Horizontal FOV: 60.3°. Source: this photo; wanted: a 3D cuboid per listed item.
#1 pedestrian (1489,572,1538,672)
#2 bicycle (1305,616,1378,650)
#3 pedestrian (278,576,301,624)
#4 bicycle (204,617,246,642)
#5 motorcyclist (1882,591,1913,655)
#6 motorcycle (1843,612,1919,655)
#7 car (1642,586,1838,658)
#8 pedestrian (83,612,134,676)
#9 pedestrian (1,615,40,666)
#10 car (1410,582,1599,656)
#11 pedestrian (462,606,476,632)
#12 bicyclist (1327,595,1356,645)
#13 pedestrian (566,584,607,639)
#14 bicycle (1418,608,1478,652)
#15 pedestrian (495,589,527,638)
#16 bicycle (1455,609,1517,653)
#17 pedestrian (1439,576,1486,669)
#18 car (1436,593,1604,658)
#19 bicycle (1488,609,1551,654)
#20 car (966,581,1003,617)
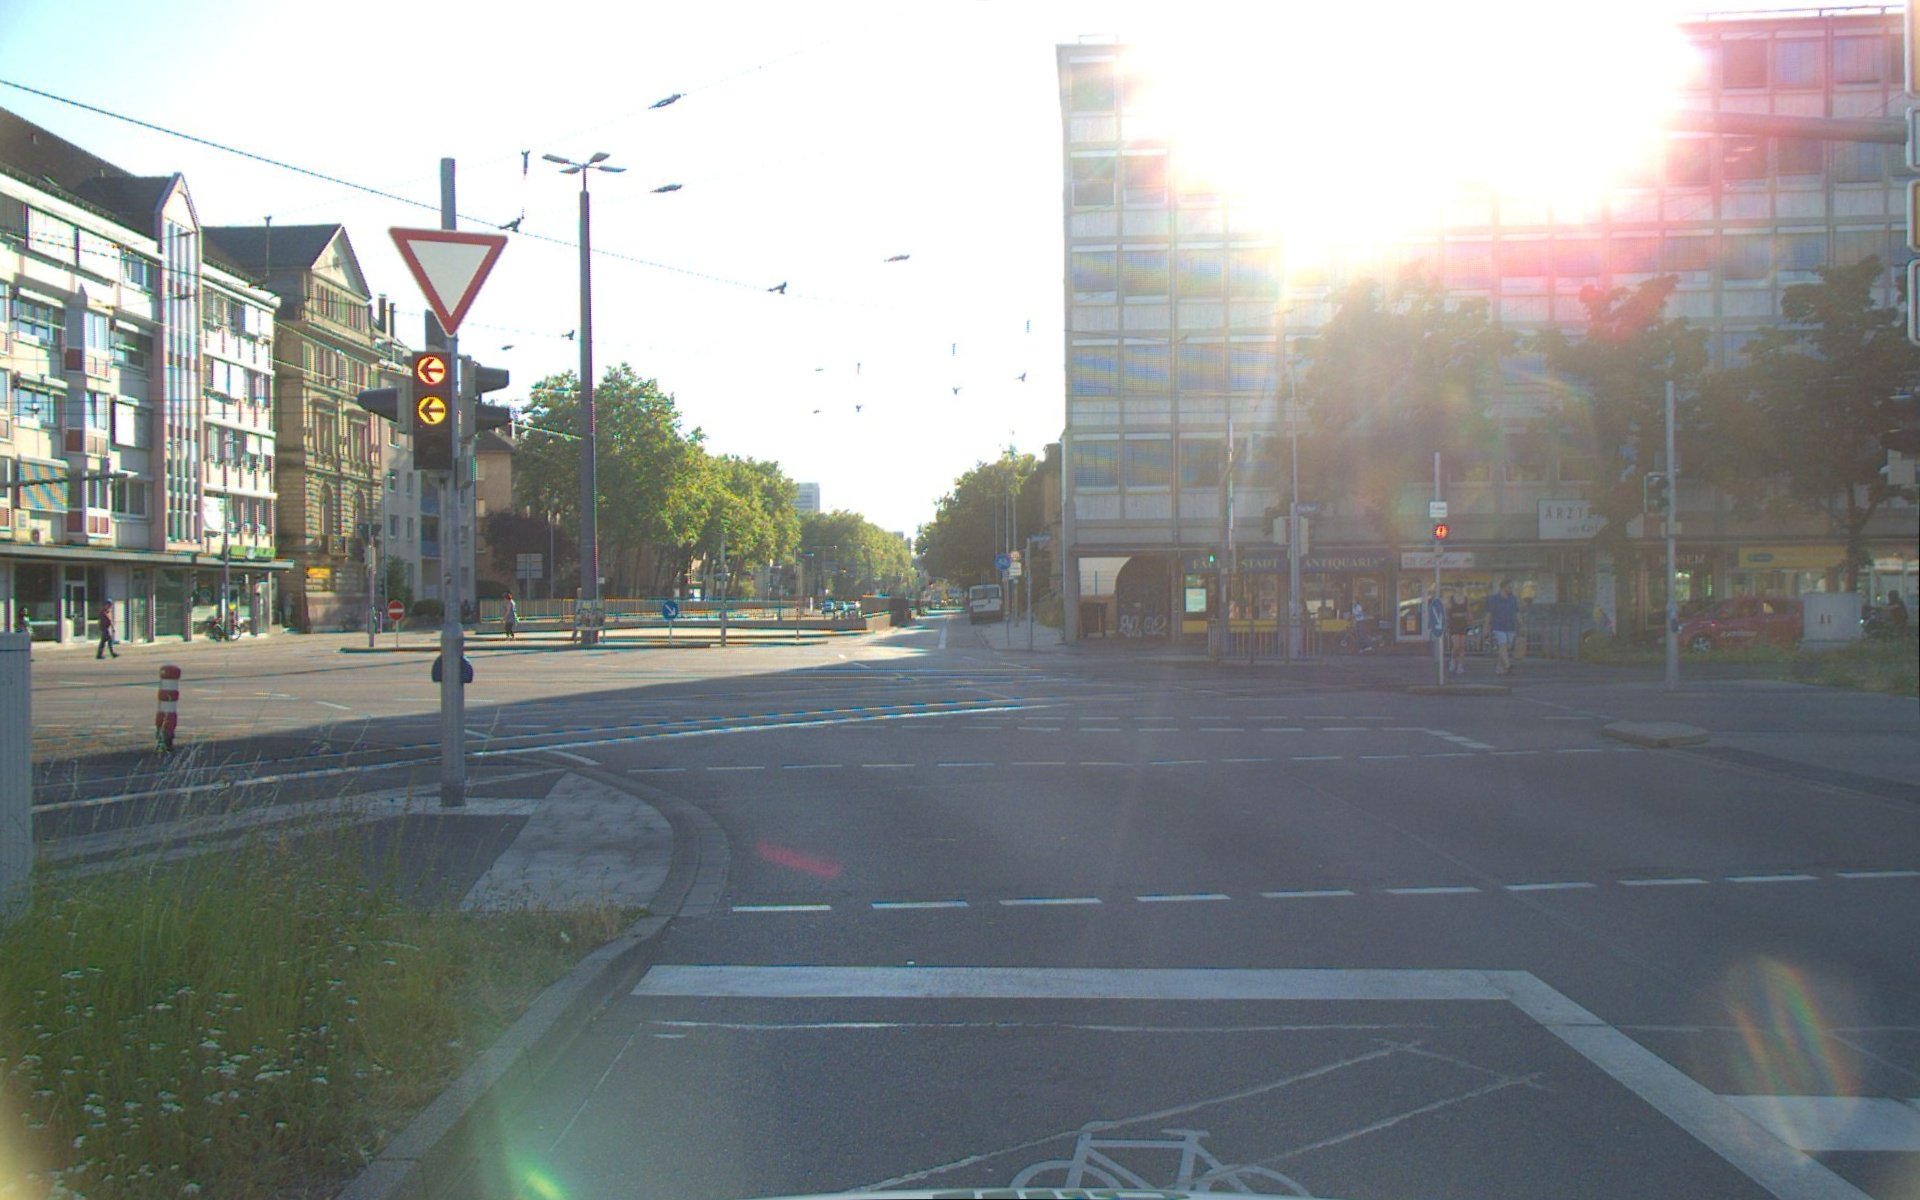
[{"bbox_3d":[10.326,0.407,30.870,0.680,1.824,1.043,1,-1,9],"label":"pedestrian"},{"bbox_3d":[11.157,0.960,48.387,1.983,0.957,0.671,1,0,-2],"label":"bicycle"},{"bbox_3d":[-34.483,0.006,85.087,0.910,2.440,0.958,1,-1,-11],"label":"pedestrian"},{"bbox_3d":[-32.431,1.291,73.028,0.441,1.089,2.093,1,0,16],"label":"bicycle"},{"bbox_3d":[22.749,0.561,40.126,0.451,1.535,0.535,1,-1,4],"label":"motorcyclist"},{"bbox_3d":[22.879,0.821,40.111,2.606,1.019,0.535,1,0,4],"label":"motorcycle"},{"bbox_3d":[18.914,0.530,40.253,3.903,1.646,1.845,1,0,4],"label":"car"},{"bbox_3d":[-27.006,1.404,52.465,1.171,1.915,0.856,1,5,-5],"label":"pedestrian"},{"bbox_3d":[-27.991,1.205,49.297,0.691,1.479,0.855,1,0,-5],"label":"pedestrian"},{"bbox_3d":[12.863,0.449,39.234,3.903,1.646,1.845,1,0,4],"label":"car"},{"bbox_3d":[-31.859,1.234,107.349,0.681,1.725,0.724,1,-1,-1],"label":"pedestrian"},{"bbox_3d":[11.159,0.582,48.384,0.665,1.449,0.671,1,-1,-2],"label":"bicyclist"},{"bbox_3d":[-12.208,0.371,54.147,1.171,1.761,0.855,1,-1,-5],"label":"pedestrian"},{"bbox_3d":[14.592,0.883,49.545,0.735,1.163,2.638,1,2,-6],"label":"bicycle"},{"bbox_3d":[-13.987,0.429,51.521,0.844,1.491,0.679,1,-6,-30],"label":"pedestrian"},{"bbox_3d":[15.763,0.912,49.609,0.735,1.163,2.638,1,2,-6],"label":"bicycle"},{"bbox_3d":[9.526,0.422,31.389,0.680,1.712,1.043,1,0,8],"label":"pedestrian"},{"bbox_3d":[15.131,0.682,44.839,3.982,1.646,1.845,1,0,4],"label":"car"},{"bbox_3d":[16.777,0.930,49.680,0.735,1.163,2.638,1,2,-6],"label":"bicycle"},{"bbox_3d":[1.571,-0.049,103.936,2.238,2.210,4.834,1,0,1],"label":"car"}]
